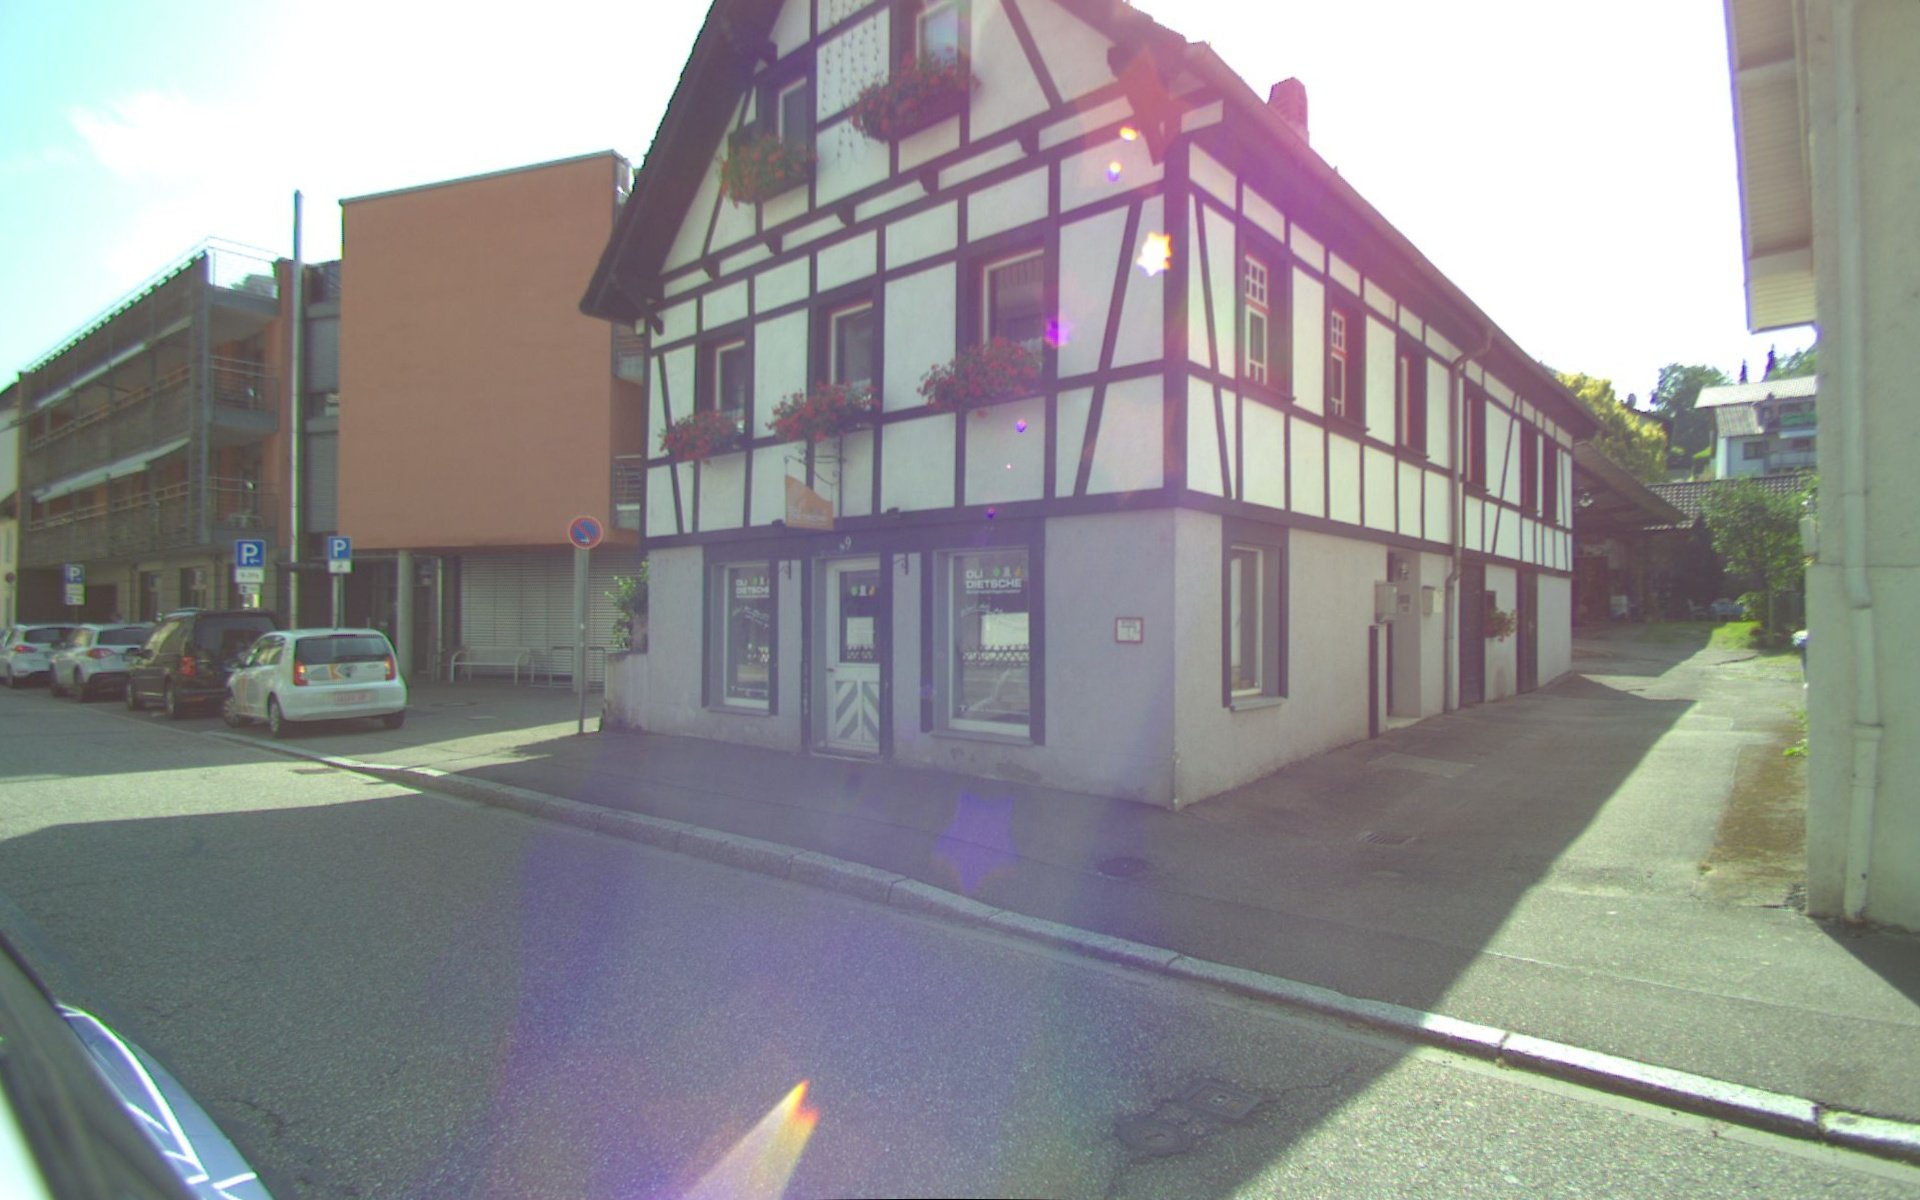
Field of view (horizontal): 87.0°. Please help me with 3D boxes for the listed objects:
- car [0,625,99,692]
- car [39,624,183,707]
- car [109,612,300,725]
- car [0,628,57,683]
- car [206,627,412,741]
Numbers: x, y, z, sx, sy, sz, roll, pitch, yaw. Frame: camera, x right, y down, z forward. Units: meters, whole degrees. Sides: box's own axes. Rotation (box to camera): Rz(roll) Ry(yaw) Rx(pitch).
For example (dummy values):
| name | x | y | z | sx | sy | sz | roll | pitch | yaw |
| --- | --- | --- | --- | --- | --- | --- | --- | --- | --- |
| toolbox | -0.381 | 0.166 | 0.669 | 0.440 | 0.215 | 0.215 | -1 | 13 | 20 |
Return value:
| name | x | y | z | sx | sy | sz | roll | pitch | yaw |
| --- | --- | --- | --- | --- | --- | --- | --- | --- | --- |
| car | -23.586 | 1.457 | 25.933 | 3.760 | 1.567 | 1.657 | -2 | -1 | 39 |
| car | -18.344 | 1.347 | 21.811 | 3.945 | 1.601 | 1.658 | -2 | -2 | 39 |
| car | -13.741 | 1.163 | 18.329 | 4.263 | 1.810 | 1.703 | -1 | -2 | 38 |
| car | -27.737 | 1.588 | 29.593 | 3.592 | 1.427 | 1.533 | -1 | 0 | 41 |
| car | -9.725 | 1.176 | 15.029 | 3.566 | 1.443 | 1.649 | -2 | -1 | 41 |
